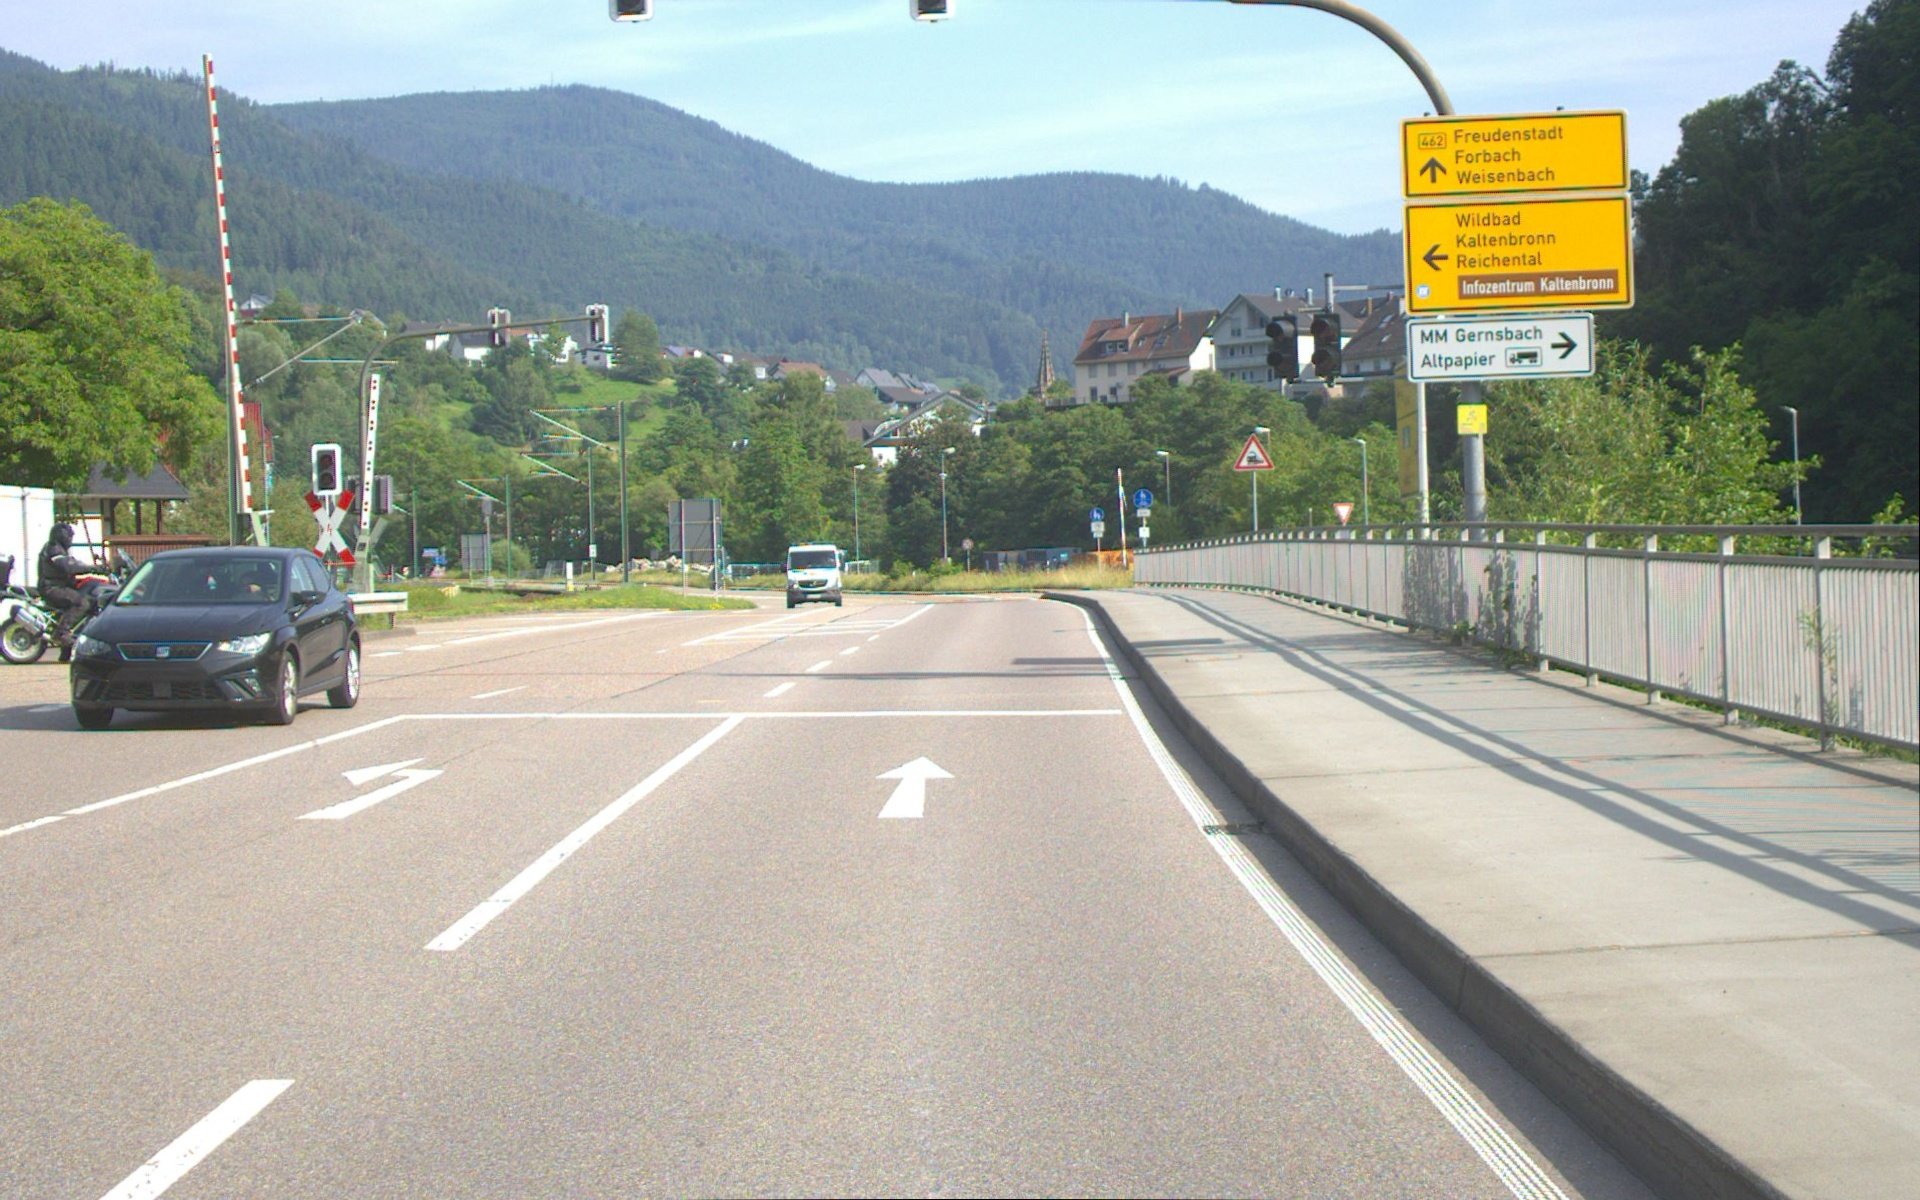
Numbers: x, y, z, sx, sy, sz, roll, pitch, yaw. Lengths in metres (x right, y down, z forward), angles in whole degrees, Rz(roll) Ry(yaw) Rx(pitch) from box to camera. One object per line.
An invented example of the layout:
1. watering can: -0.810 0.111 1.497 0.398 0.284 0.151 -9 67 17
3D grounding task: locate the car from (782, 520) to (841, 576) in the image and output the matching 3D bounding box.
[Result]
1. car: -5.404 -1.914 125.482 1.993 2.007 4.557 0 1 0

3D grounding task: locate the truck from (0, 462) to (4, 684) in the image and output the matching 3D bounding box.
1. truck: -12.779 -0.280 36.072 5.996 2.259 1.996 0 1 36

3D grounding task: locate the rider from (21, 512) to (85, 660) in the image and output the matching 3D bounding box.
1. rider: -11.332 -0.181 42.948 0.752 1.813 0.743 0 2 -15

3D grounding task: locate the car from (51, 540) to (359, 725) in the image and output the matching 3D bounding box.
1. car: -6.243 0.220 28.815 1.773 1.412 3.785 0 1 0
